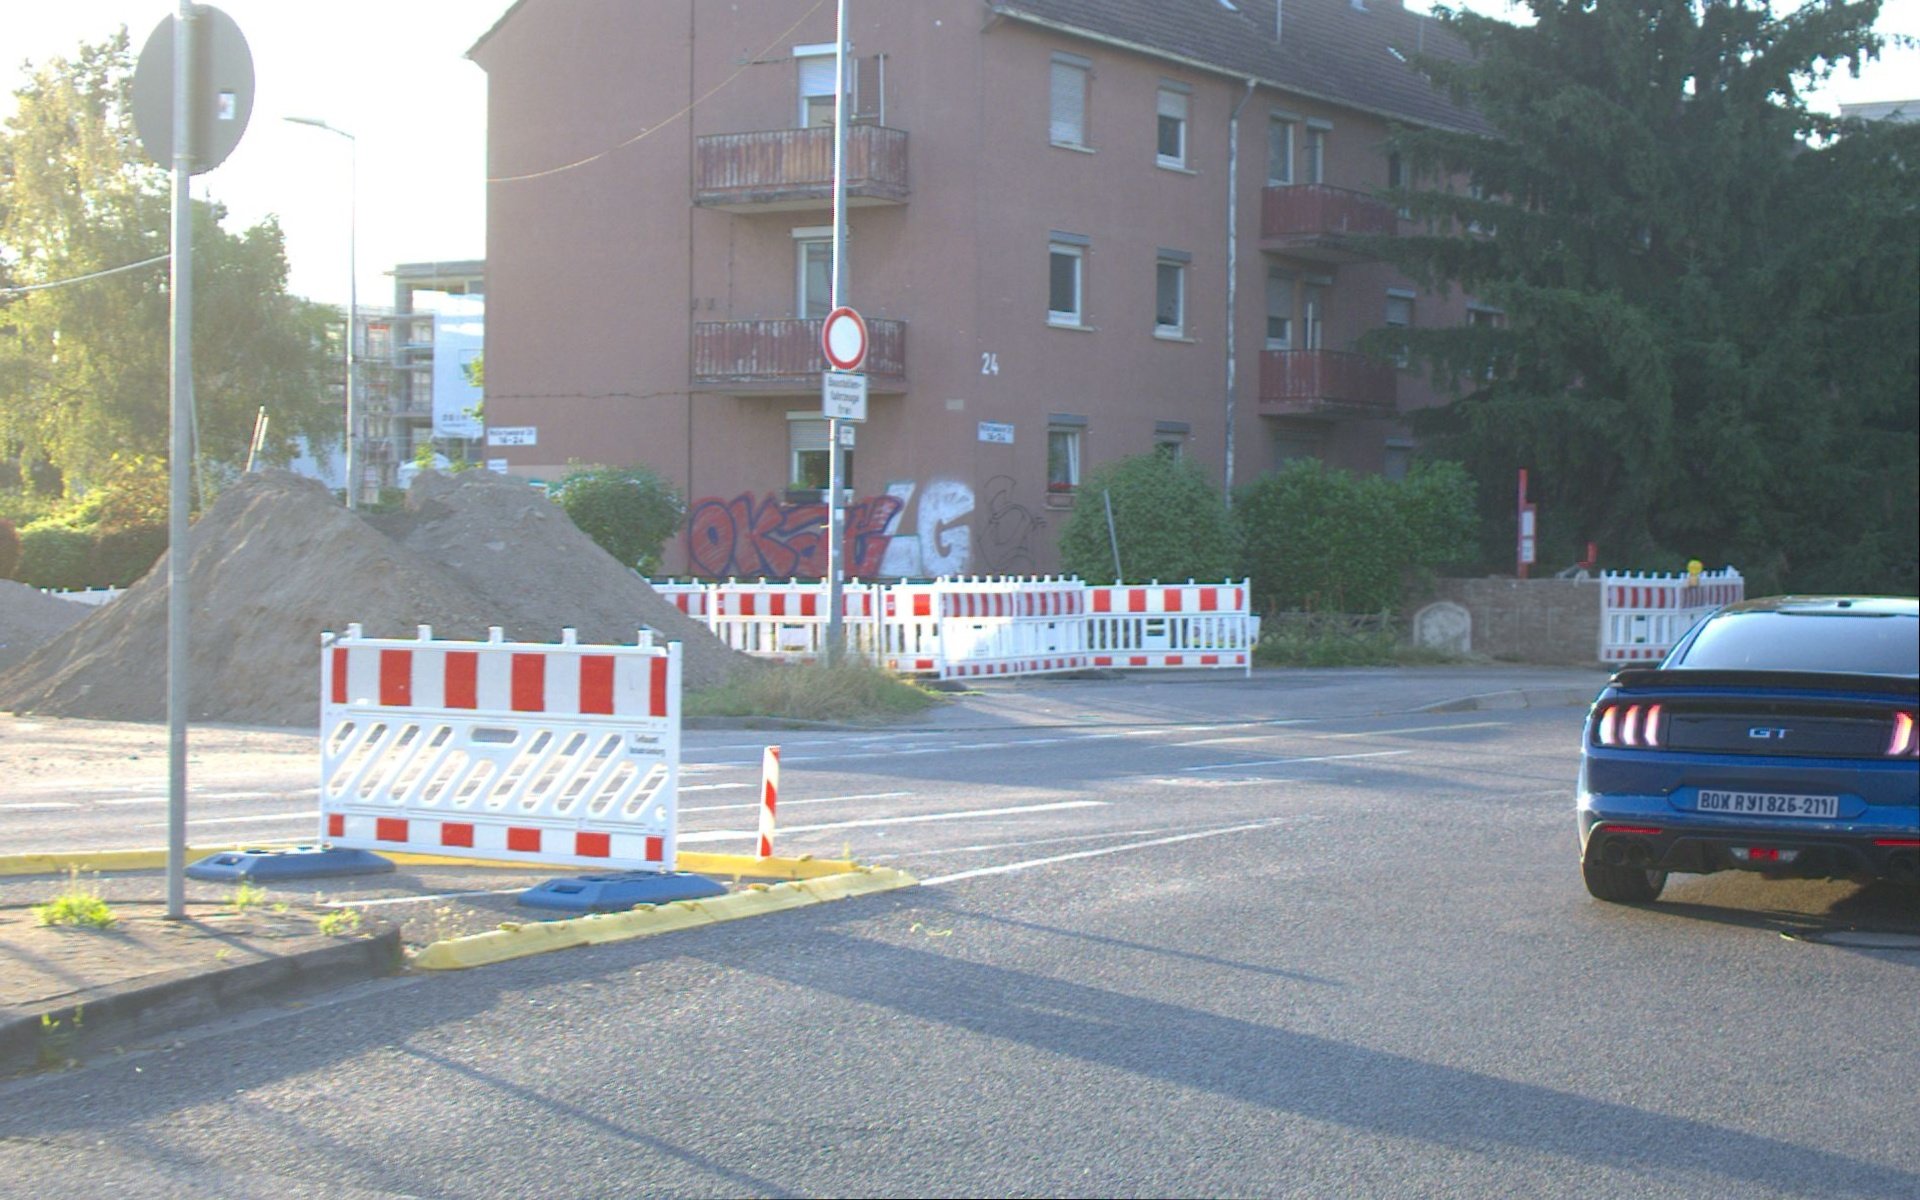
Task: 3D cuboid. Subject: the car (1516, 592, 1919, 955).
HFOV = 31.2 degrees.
[{"bbox_3d":[4.103,0.666,15.575,1.954,1.337,4.664,2,1,24],"label":"car"}]
